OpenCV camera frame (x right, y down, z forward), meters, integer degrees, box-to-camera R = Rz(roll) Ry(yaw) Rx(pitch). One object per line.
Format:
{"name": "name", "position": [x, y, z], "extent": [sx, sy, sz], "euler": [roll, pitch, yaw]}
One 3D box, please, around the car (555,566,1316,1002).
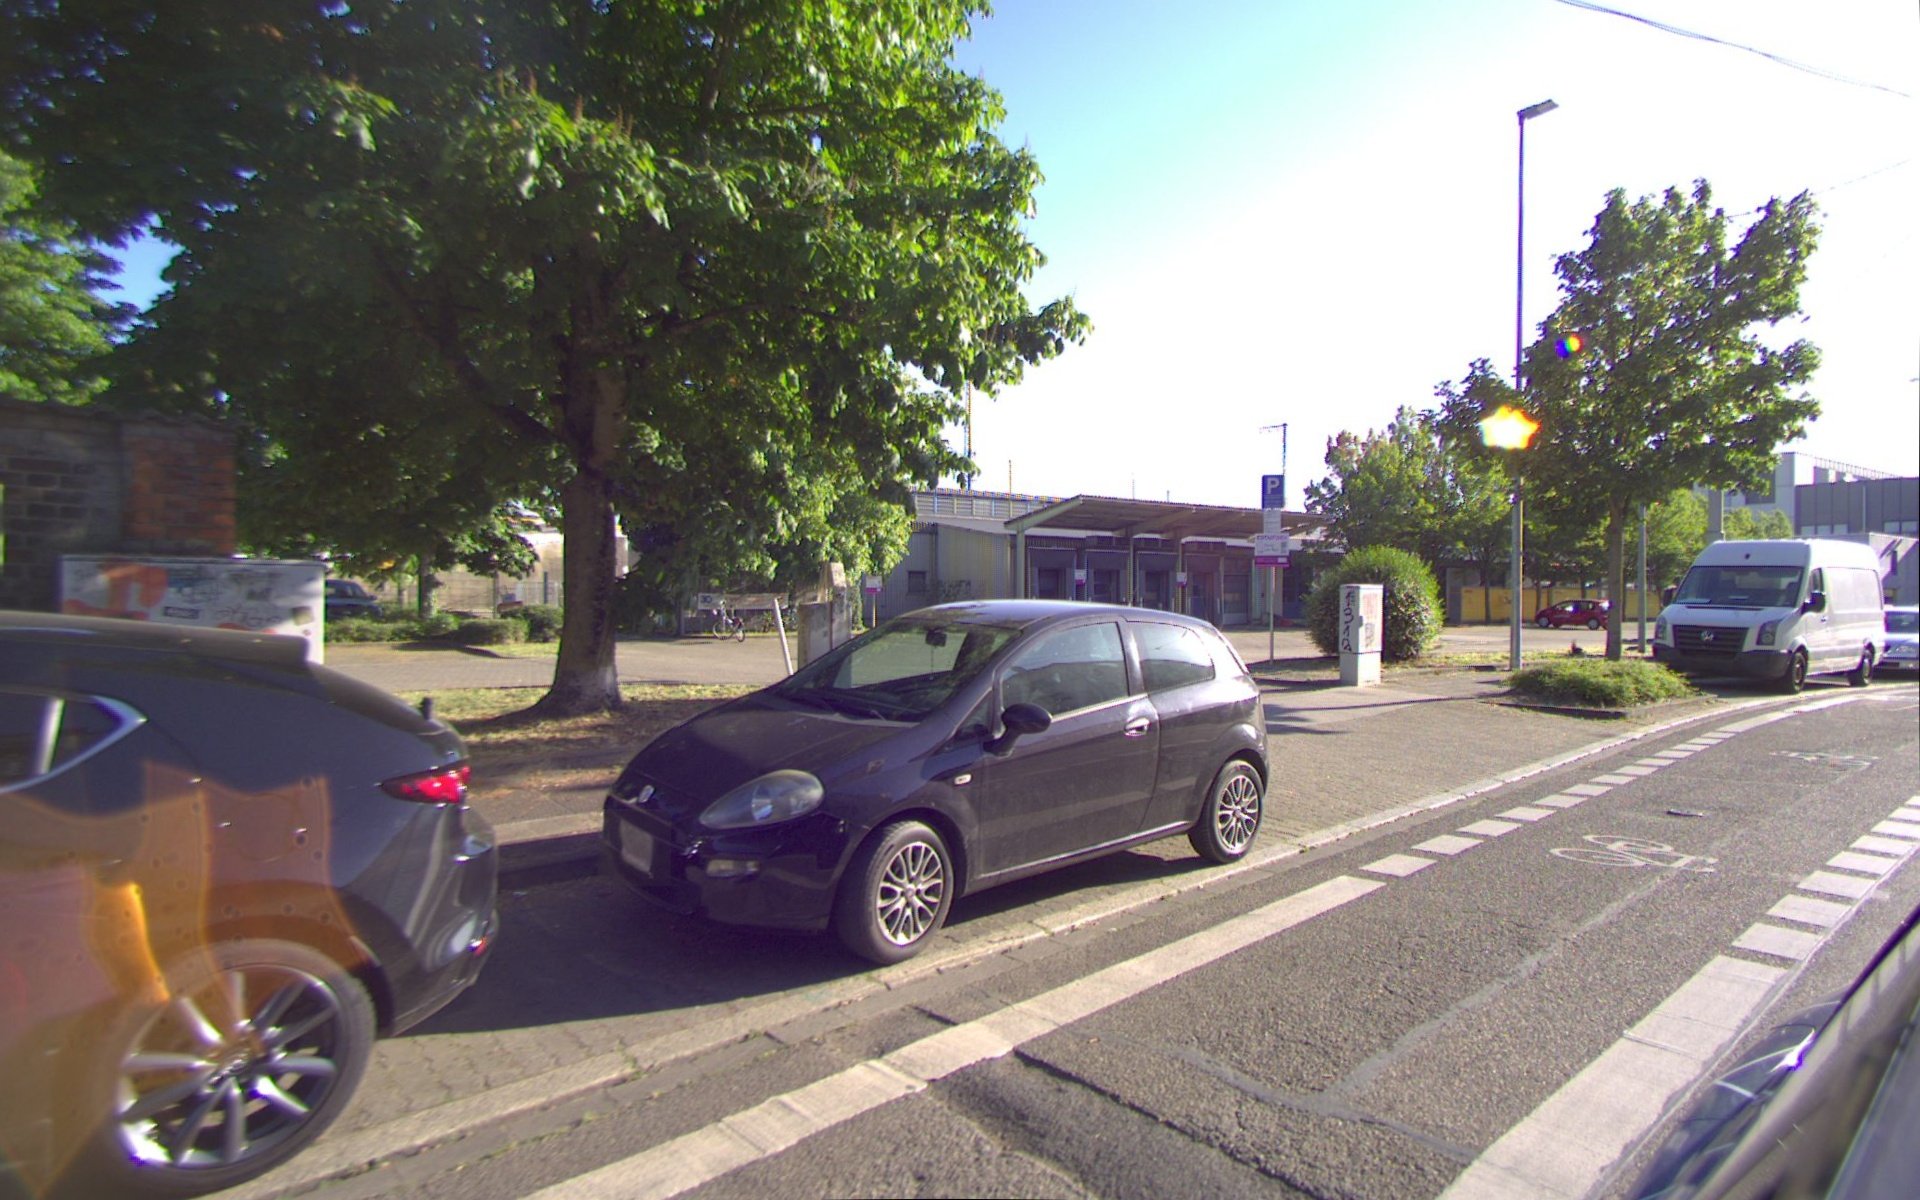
{"name": "car", "position": [0.084, 0.627, 5.505], "extent": [3.928, 1.549, 1.693], "euler": [0, 2, -39]}

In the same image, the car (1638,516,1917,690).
{"name": "car", "position": [14.810, -0.008, 18.210], "extent": [5.974, 2.698, 2.188], "euler": [0, 2, -34]}

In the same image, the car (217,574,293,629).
{"name": "car", "position": [-26.613, 0.024, 38.139], "extent": [1.715, 1.946, 4.130], "euler": [0, 0, -44]}

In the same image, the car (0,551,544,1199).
{"name": "car", "position": [-3.387, 0.647, 2.223], "extent": [4.277, 1.549, 1.693], "euler": [0, 2, -39]}

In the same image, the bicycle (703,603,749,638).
{"name": "bicycle", "position": [-6.566, 0.562, 28.331], "extent": [0.539, 0.953, 1.842], "euler": [0, -1, -38]}

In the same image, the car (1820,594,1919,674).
{"name": "car", "position": [20.350, 0.655, 21.567], "extent": [4.511, 1.549, 1.917], "euler": [0, 1, -33]}
